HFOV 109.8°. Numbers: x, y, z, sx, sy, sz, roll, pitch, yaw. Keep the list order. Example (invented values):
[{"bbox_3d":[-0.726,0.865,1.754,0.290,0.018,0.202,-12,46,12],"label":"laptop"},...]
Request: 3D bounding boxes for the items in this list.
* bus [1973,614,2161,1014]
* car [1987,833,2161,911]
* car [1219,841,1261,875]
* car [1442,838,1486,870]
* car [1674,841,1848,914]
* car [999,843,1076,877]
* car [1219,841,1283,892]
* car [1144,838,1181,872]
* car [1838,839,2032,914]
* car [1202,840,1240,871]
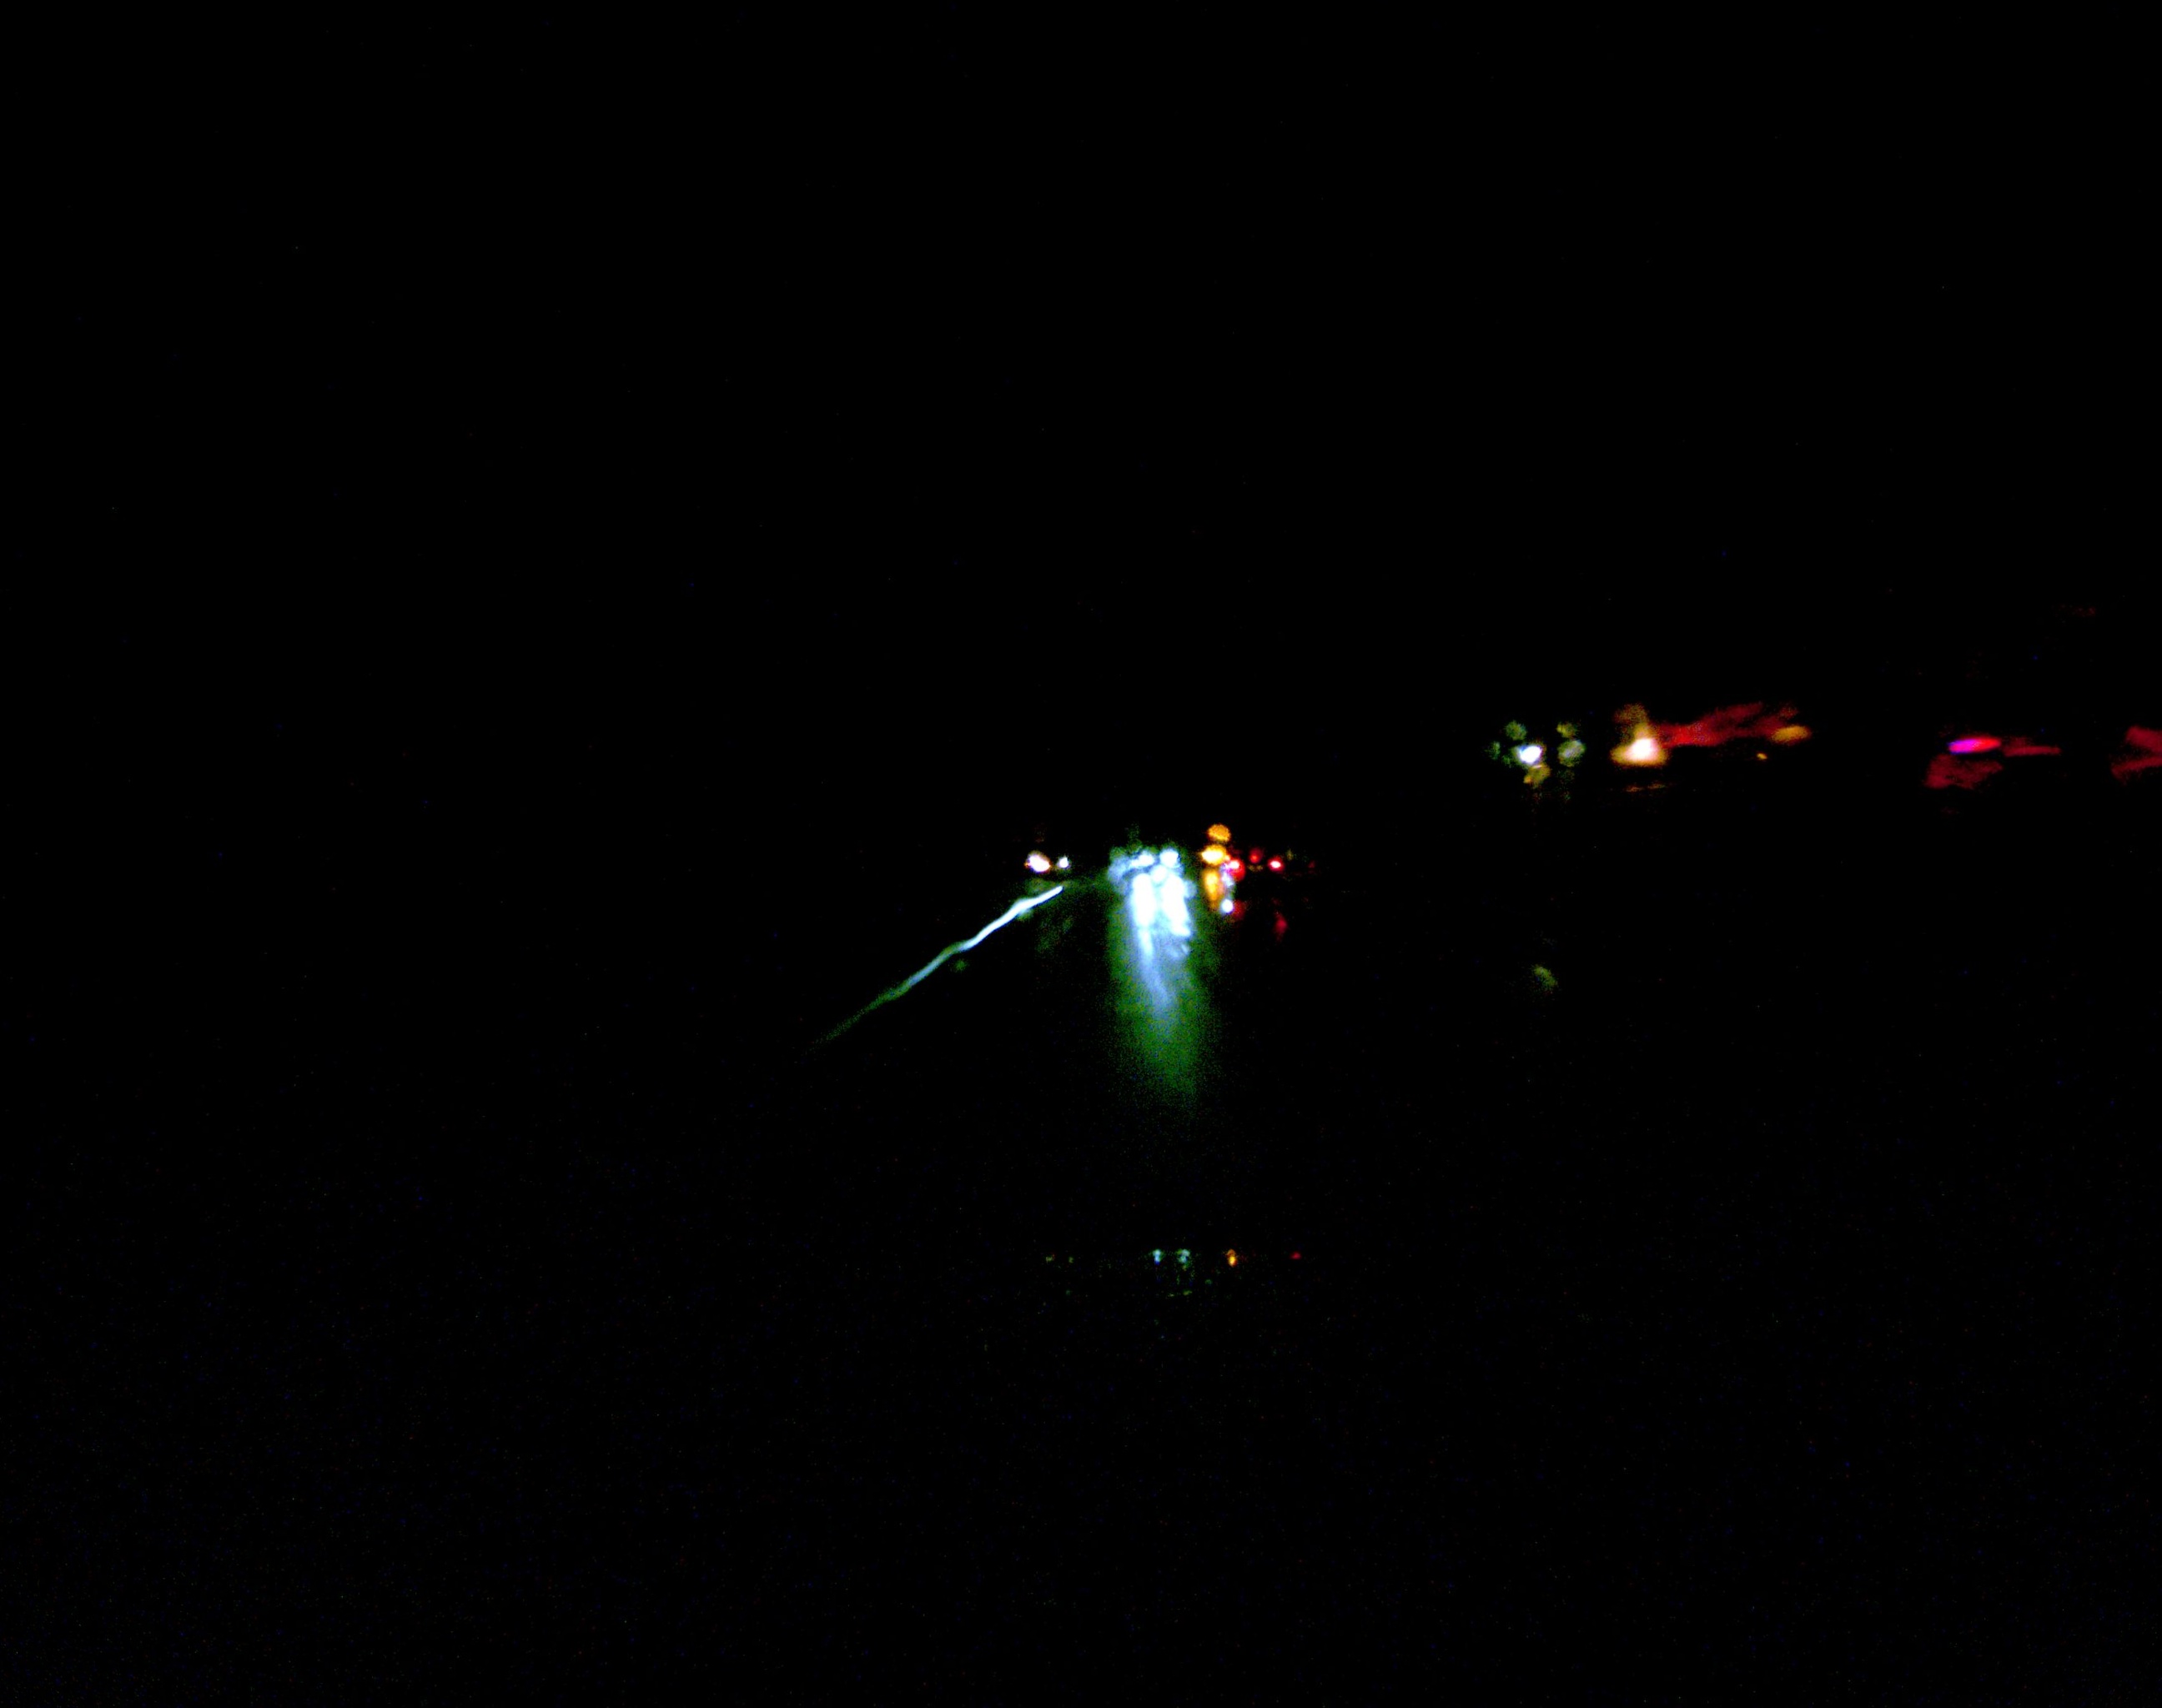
[{"bbox_3d":[13.391,-0.461,2.740,2.904,3.846,13.039,-3,1,-18],"label":"bus"},{"bbox_3d":[21.808,0.307,16.295,1.689,1.391,3.736,1,4,27],"label":"car"},{"bbox_3d":[7.607,0.152,36.649,1.715,1.467,3.871,-3,1,9],"label":"car"},{"bbox_3d":[18.133,-0.052,35.876,1.689,1.390,4.157,1,2,28],"label":"car"},{"bbox_3d":[16.757,0.513,19.041,1.845,1.368,4.742,-3,2,24],"label":"car"},{"bbox_3d":[-2.479,0.340,42.380,1.964,1.682,4.762,-5,2,-35],"label":"car"},{"bbox_3d":[5.806,0.370,26.282,1.699,1.590,3.802,-2,1,6],"label":"car"},{"bbox_3d":[4.765,0.032,44.032,1.958,1.712,4.001,-2,3,8],"label":"car"},{"bbox_3d":[19.456,0.422,17.542,1.689,1.391,3.736,1,4,27],"label":"car"},{"bbox_3d":[8.201,0.049,44.280,1.959,1.513,4.401,-3,2,12],"label":"car"}]
